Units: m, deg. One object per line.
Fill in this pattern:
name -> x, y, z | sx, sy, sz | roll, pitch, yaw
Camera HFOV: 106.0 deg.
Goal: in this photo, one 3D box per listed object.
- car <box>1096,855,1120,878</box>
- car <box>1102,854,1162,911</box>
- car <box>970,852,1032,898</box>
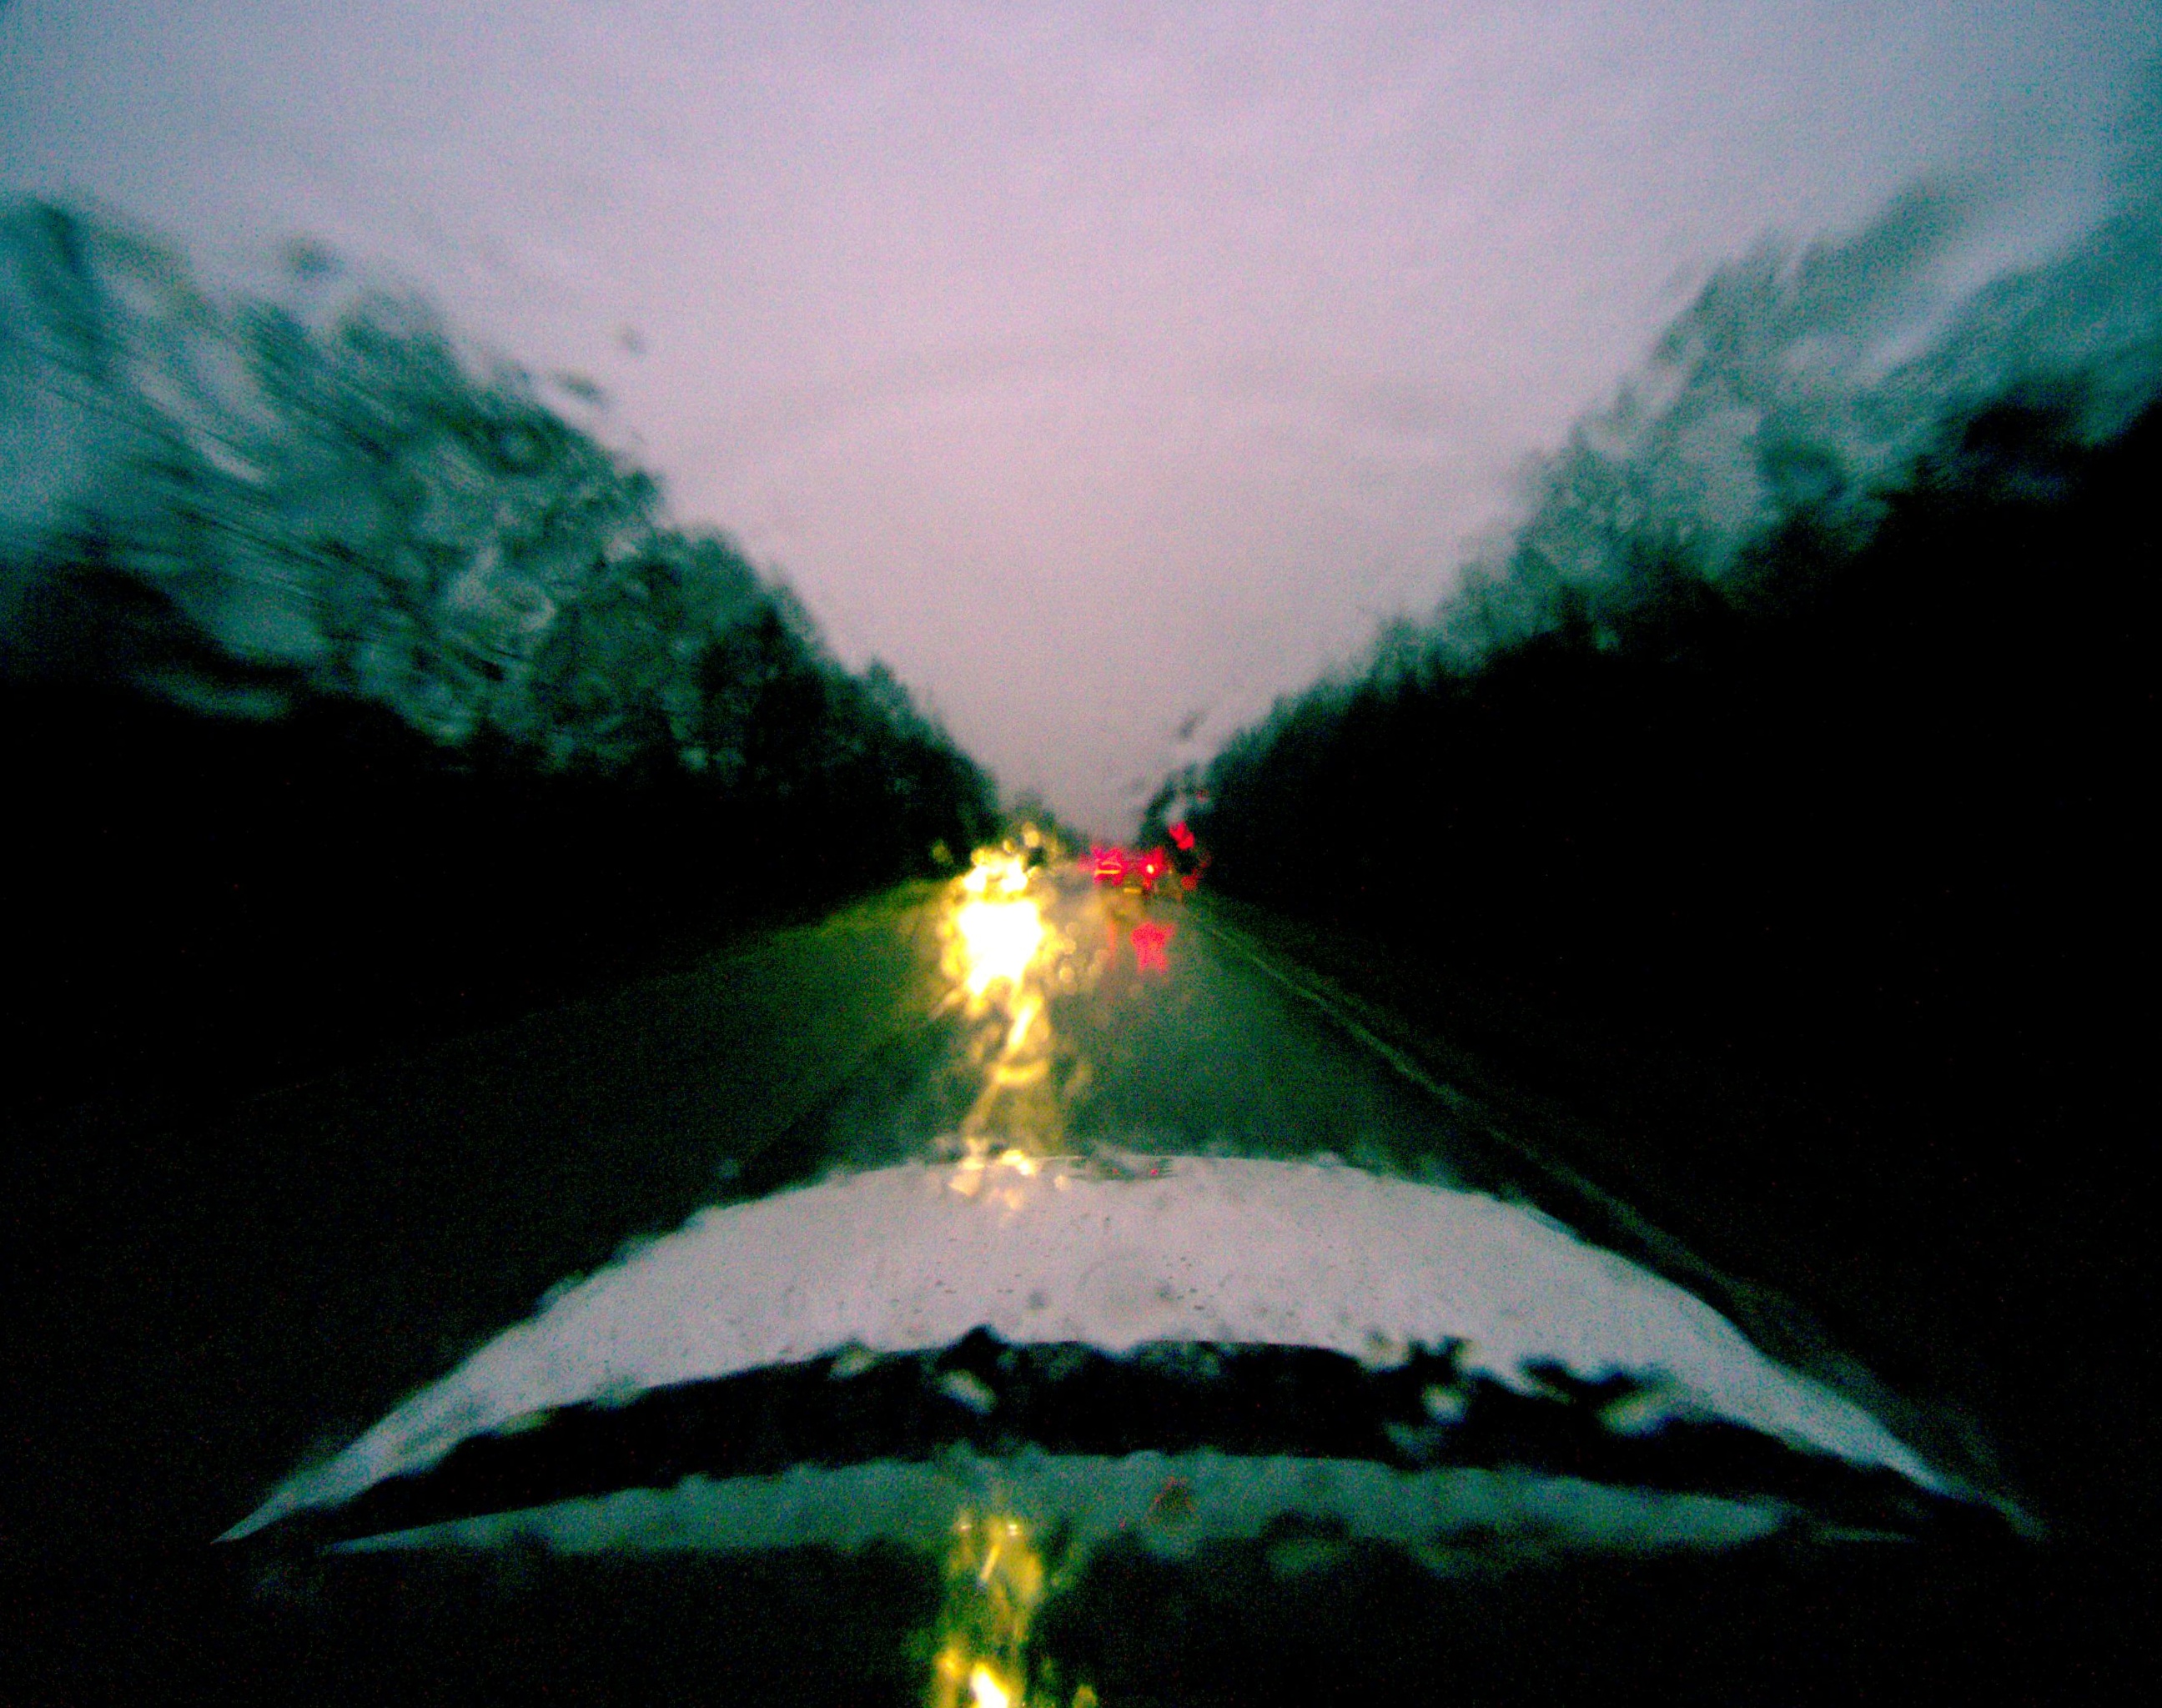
car -> 2.060, 0.943, 60.707 | 1.720, 1.643, 4.003 | 0, 0, 3
car -> 1.578, 0.850, 25.631 | 1.720, 1.643, 4.003 | 0, 0, 3
car -> -2.996, 0.756, 31.469 | 1.865, 1.607, 4.197 | -1, 0, 1
